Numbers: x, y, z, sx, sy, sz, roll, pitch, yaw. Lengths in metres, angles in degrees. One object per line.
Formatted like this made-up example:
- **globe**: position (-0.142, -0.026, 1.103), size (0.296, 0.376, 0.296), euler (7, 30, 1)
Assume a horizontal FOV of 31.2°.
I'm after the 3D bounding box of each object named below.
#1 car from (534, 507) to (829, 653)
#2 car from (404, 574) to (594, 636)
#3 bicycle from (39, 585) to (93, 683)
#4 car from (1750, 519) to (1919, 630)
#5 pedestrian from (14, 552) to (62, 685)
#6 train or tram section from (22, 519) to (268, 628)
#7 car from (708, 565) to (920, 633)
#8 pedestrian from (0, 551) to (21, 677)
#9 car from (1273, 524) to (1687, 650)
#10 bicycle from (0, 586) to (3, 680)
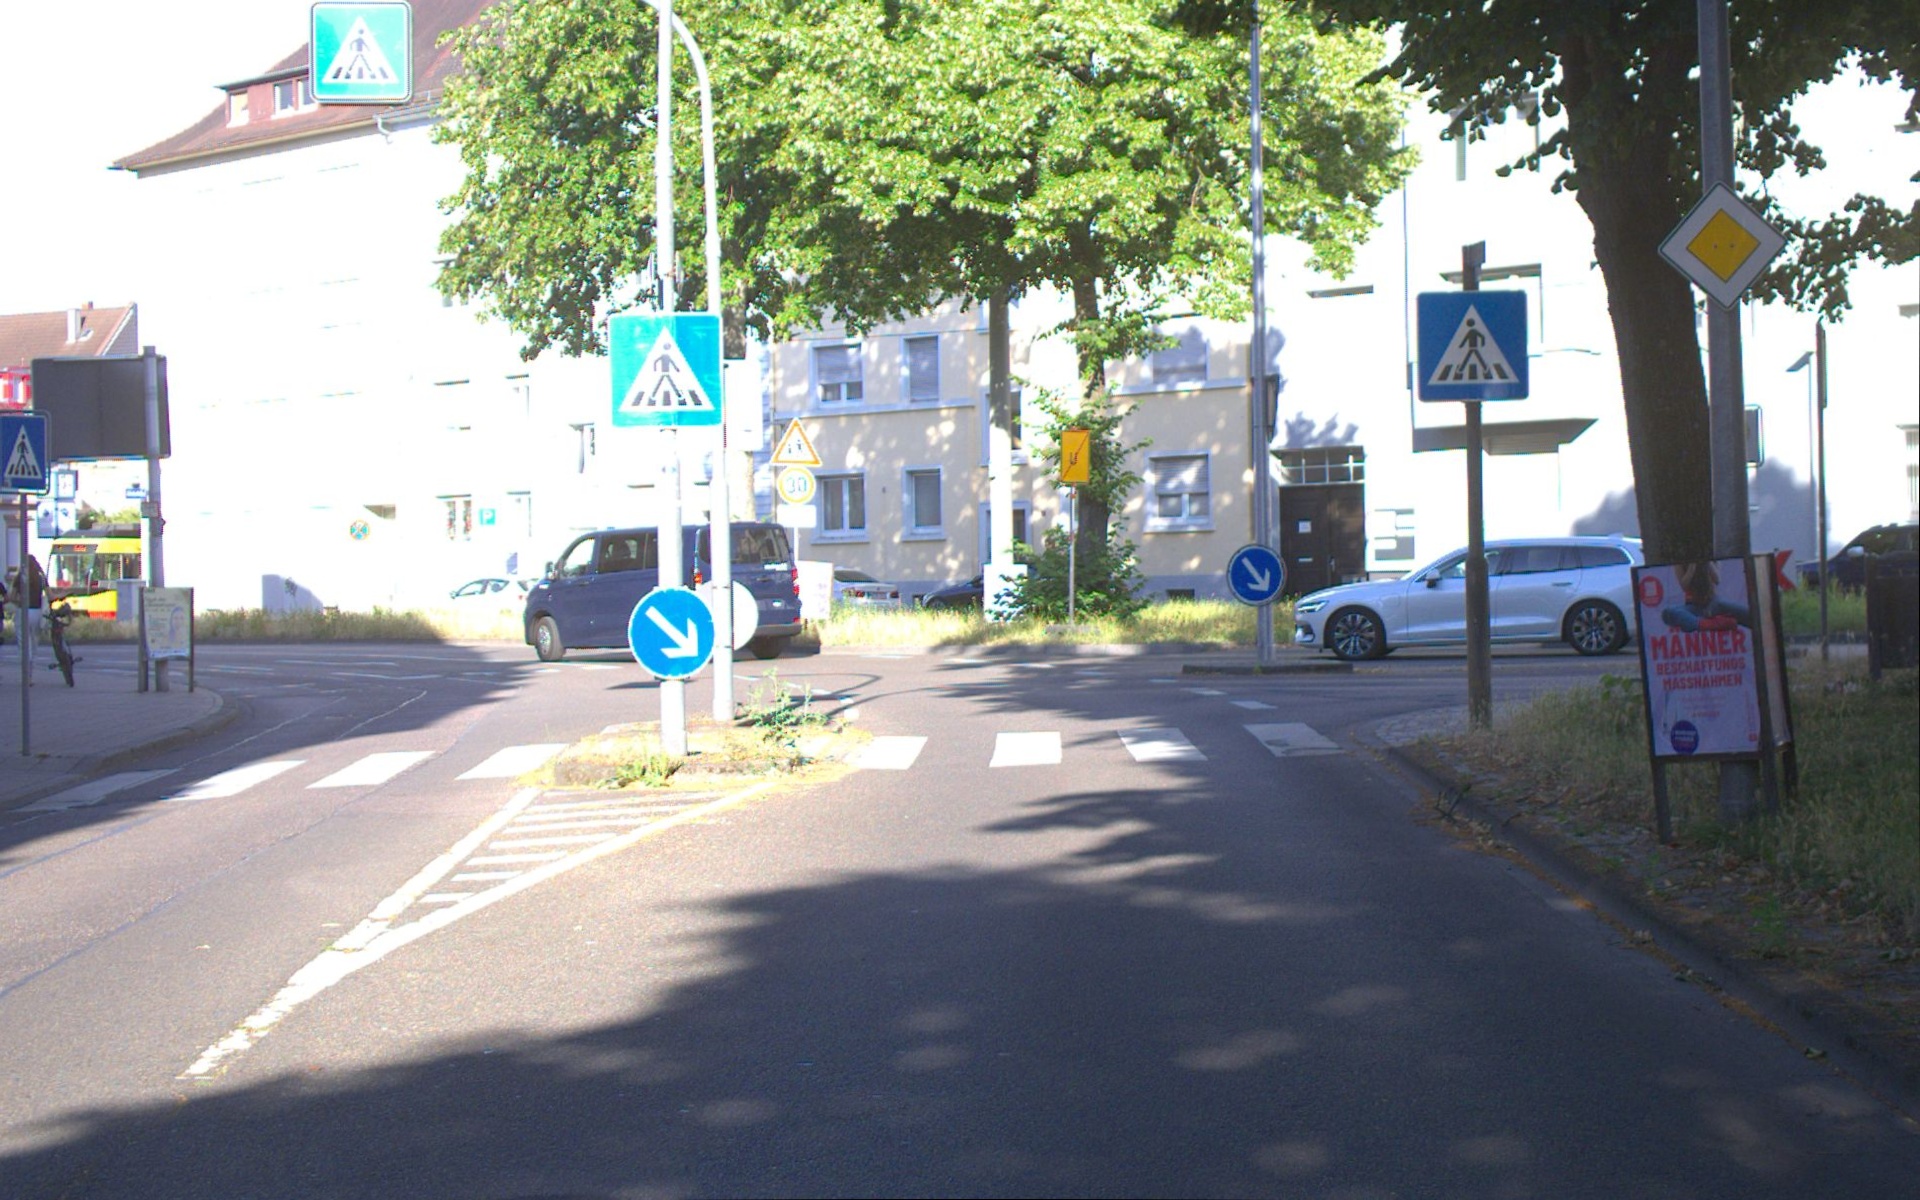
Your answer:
- **car**: position (-4.035, -0.286, 49.502), size (3.996, 2.007, 1.995), euler (0, 0, 41)
- **car**: position (-10.908, 0.104, 81.231), size (4.442, 1.382, 1.995), euler (0, 2, 41)
- **bicycle**: position (-11.254, 0.415, 43.252), size (0.440, 1.174, 1.967), euler (0, 1, -21)
- **car**: position (15.092, -0.428, 55.278), size (4.206, 1.743, 1.995), euler (0, 2, 44)
- **pedestrian**: position (-11.585, 0.223, 43.196), size (0.474, 1.642, 0.602), euler (-2, 1, -21)
- **train or tram section**: position (-27.813, -0.925, 117.922), size (2.779, 3.543, 9.907), euler (-1, 0, 24)
- **car**: position (-3.155, -0.029, 73.489), size (4.443, 1.382, 1.995), euler (0, 2, 44)
- **pedestrian**: position (-12.121, 0.174, 43.246), size (0.474, 1.559, 0.602), euler (-3, 1, -21)
- **car**: position (6.372, -0.164, 42.051), size (4.761, 1.458, 1.853), euler (0, 1, 18)
- **bicycle**: position (-12.322, 0.403, 43.353), size (0.375, 1.163, 1.838), euler (-1, 1, -19)
